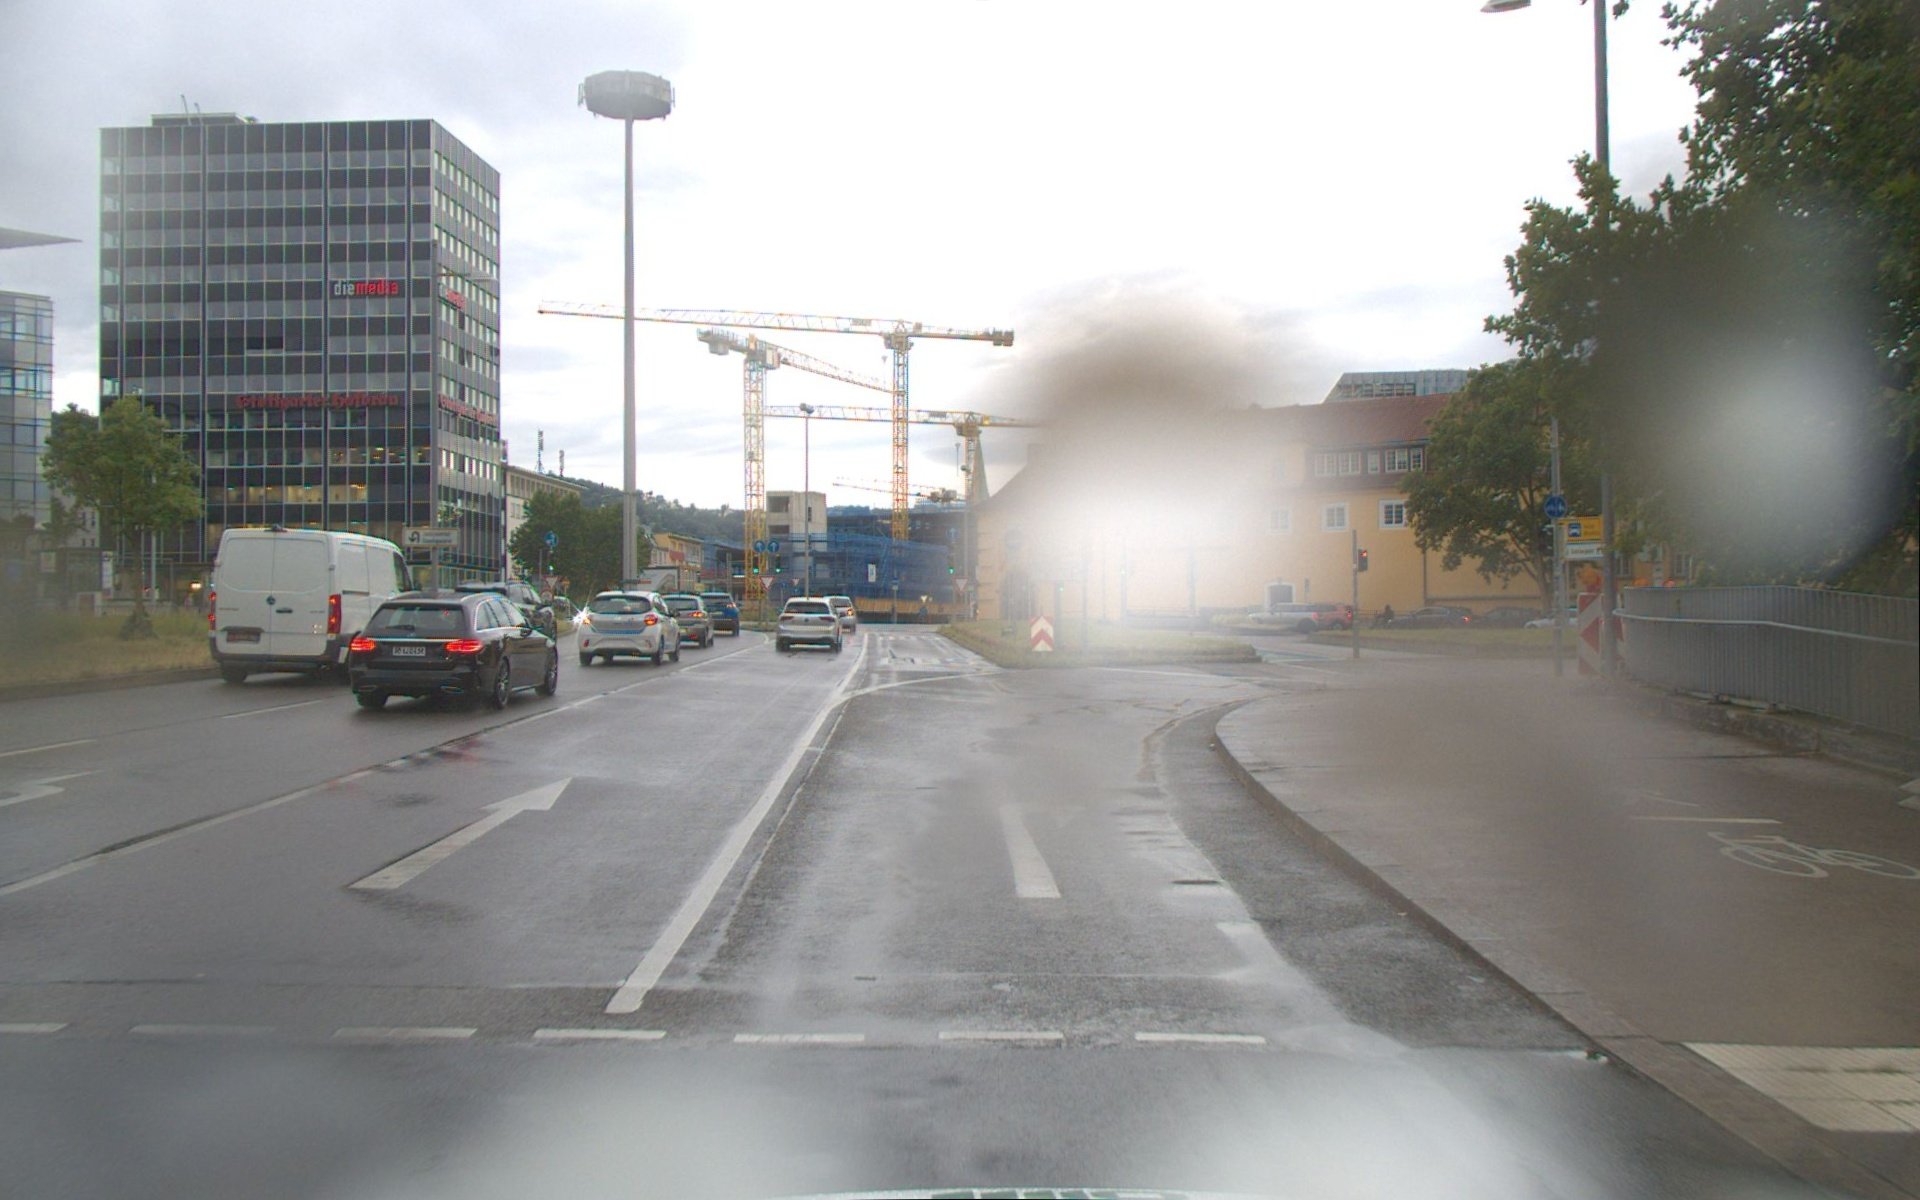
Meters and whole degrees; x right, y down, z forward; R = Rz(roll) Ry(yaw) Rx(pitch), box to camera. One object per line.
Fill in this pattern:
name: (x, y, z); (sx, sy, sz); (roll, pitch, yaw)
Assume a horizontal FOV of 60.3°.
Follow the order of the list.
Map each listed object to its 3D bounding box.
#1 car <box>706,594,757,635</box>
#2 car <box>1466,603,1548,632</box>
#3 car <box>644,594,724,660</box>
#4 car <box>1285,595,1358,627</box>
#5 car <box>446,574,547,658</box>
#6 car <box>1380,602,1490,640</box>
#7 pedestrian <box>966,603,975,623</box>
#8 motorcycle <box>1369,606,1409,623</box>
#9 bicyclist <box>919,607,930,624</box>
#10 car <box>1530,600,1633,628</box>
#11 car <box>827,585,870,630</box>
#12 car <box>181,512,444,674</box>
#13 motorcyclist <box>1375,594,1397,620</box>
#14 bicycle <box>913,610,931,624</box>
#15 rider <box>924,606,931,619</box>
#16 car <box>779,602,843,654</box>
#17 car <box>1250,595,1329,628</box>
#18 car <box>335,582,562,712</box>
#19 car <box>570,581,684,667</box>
car: (-8.347, 0.557, 60.613); (1.463, 1.393, 3.032); (1, -2, -1)
car: (26.855, 0.858, 81.271); (3.534, 1.360, 1.572); (-1, -3, 35)
car: (-7.709, 0.788, 46.492); (1.681, 1.758, 3.493); (1, -2, -1)
car: (18.148, 0.555, 83.105); (3.330, 1.498, 1.652); (0, -3, 23)
car: (-10.200, 0.390, 36.563); (1.435, 1.736, 3.139); (1, -2, -3)
car: (22.801, 1.026, 79.433); (4.732, 1.739, 1.988); (-1, -3, 42)
pedestrian: (0.720, 0.920, 115.629); (0.447, 1.392, 0.442); (-1, -3, 37)
motorcycle: (21.879, 0.745, 84.375); (1.923, 0.867, 0.546); (0, -3, 22)
bicyclist: (-2.785, 1.194, 129.241); (0.692, 1.298, 0.632); (2, -3, -17)
car: (28.087, 0.646, 74.881); (1.523, 1.160, 4.328); (2, -3, -33)
car: (-4.577, 0.284, 68.331); (1.633, 1.772, 3.286); (1, 1, -2)
car: (-10.302, -0.001, 26.839); (2.245, 2.355, 5.004); (1, -2, 0)
motorcyclist: (21.721, 0.373, 84.304); (1.053, 1.295, 0.692); (0, -3, 20)
bicycle: (-2.988, 1.341, 129.671); (0.866, 1.028, 1.984); (1, -2, -16)
rider: (-2.768, 1.099, 141.814); (0.606, 1.057, 0.533); (1, -2, 1)
car: (-4.097, 0.794, 45.708); (1.414, 1.383, 2.412); (1, -2, 2)
car: (15.542, 0.558, 78.001); (3.334, 1.508, 1.833); (0, -3, 25)
car: (-6.473, 0.545, 21.317); (1.792, 1.520, 3.400); (1, 0, 1)
car: (-6.914, 0.550, 34.686); (1.843, 1.682, 3.455); (1, -2, -3)
